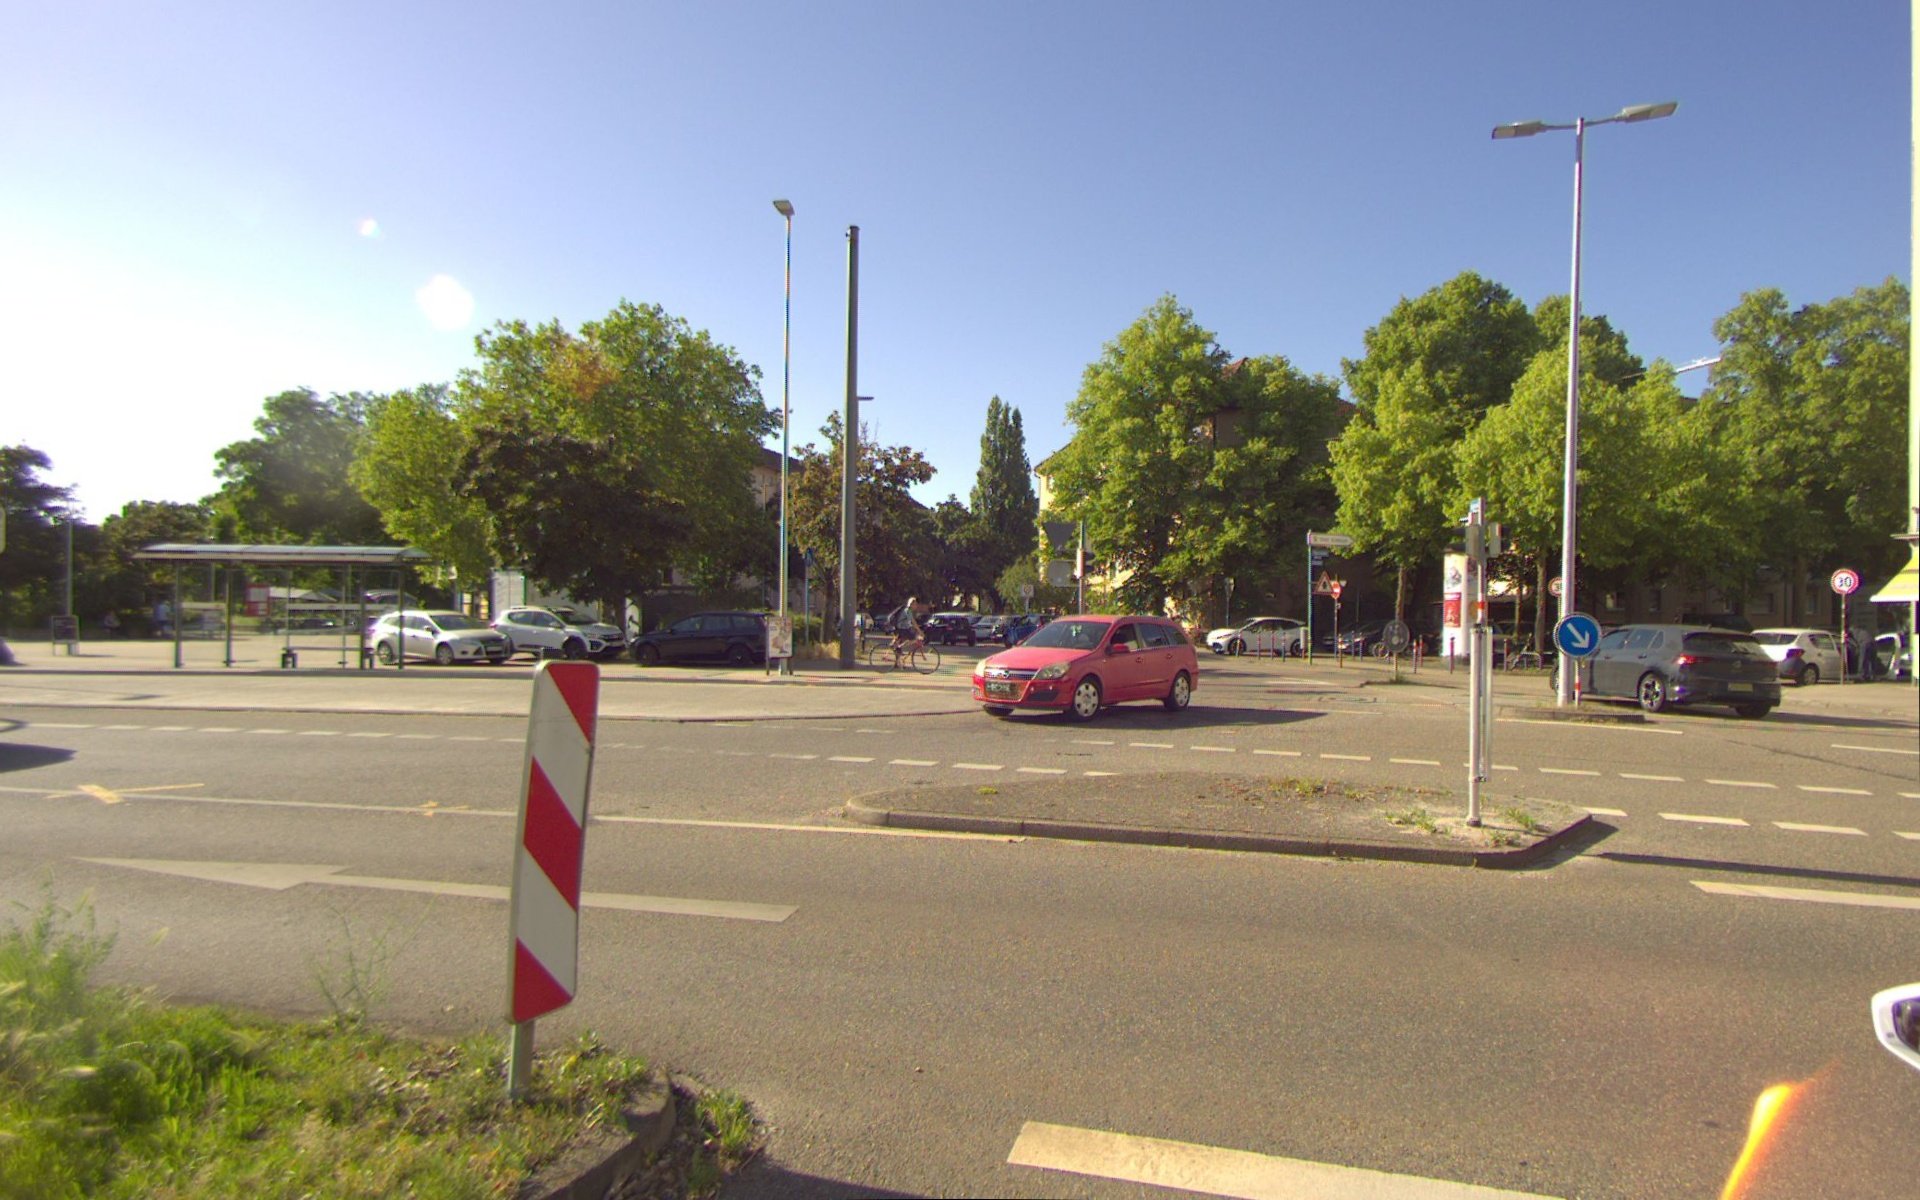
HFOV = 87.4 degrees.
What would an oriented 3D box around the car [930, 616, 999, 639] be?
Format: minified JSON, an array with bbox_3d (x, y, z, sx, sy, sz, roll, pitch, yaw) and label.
[{"bbox_3d":[0.303,1.701,62.917,3.926,1.356,1.804,0,-1,27],"label":"car"}]

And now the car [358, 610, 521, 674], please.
[{"bbox_3d":[-14.662,1.129,28.245,4.466,1.565,1.869,0,2,28],"label":"car"}]

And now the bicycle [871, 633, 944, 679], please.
[{"bbox_3d":[-1.238,1.308,23.628,1.631,1.014,0.612,-1,1,-16],"label":"bicycle"}]

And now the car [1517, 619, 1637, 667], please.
[{"bbox_3d":[21.640,1.480,35.349,1.646,1.623,3.291,1,-1,-21],"label":"car"}]

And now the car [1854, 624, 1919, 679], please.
[{"bbox_3d":[28.820,1.501,29.562,3.872,1.533,1.937,1,-1,-14],"label":"car"}]

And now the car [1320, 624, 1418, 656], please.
[{"bbox_3d":[17.247,1.665,42.426,3.641,1.310,1.594,0,-1,-15],"label":"car"}]

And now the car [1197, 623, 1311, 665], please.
[{"bbox_3d":[12.004,1.768,41.032,4.153,1.639,1.761,0,0,-13],"label":"car"}]

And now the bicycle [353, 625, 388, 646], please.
[{"bbox_3d":[-24.894,1.475,42.420,1.656,0.850,0.546,0,-1,32],"label":"bicycle"}]

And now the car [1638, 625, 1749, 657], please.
[{"bbox_3d":[29.504,1.634,40.518,3.379,1.206,1.666,0,-1,27],"label":"car"}]

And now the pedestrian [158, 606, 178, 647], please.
[{"bbox_3d":[-36.238,1.227,45.953,0.553,1.853,0.722,1,-1,-29],"label":"pedestrian"}]

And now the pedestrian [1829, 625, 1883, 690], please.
[{"bbox_3d":[23.307,1.474,26.127,0.818,1.643,0.789,1,-1,-24],"label":"pedestrian"}]

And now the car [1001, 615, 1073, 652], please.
[{"bbox_3d":[3.175,1.358,41.881,1.628,1.457,3.377,1,-1,-23],"label":"car"}]

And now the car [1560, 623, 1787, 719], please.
[{"bbox_3d":[12.053,1.128,17.275,1.593,1.448,3.690,0,-1,6],"label":"car"}]

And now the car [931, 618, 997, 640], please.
[{"bbox_3d":[0.269,1.890,65.587,3.926,1.356,1.804,0,-1,27],"label":"car"}]

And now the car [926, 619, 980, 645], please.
[{"bbox_3d":[-0.391,1.597,51.089,1.670,1.270,3.610,1,-1,-19],"label":"car"}]

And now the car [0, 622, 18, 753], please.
[{"bbox_3d":[-12.345,0.914,10.081,4.069,1.410,1.665,1,-1,-3],"label":"car"}]

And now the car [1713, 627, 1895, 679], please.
[{"bbox_3d":[23.170,1.437,27.617,3.934,1.327,1.994,1,-1,-16],"label":"car"}]

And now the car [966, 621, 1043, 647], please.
[{"bbox_3d":[2.498,1.907,56.533,3.926,1.356,1.804,0,-1,27],"label":"car"}]

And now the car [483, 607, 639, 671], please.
[{"bbox_3d":[-11.793,1.133,29.773,3.919,1.741,1.764,0,2,12],"label":"car"}]

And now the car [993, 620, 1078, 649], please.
[{"bbox_3d":[3.874,1.775,51.823,3.942,1.460,1.909,1,-1,-22],"label":"car"}]

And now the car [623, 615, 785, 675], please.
[{"bbox_3d":[-6.985,1.211,27.652,3.927,1.509,1.764,0,2,7],"label":"car"}]

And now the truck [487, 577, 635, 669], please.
[{"bbox_3d":[-14.016,0.779,35.598,1.963,3.035,4.823,0,0,27],"label":"truck"}]

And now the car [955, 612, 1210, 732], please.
[{"bbox_3d":[1.993,0.960,15.071,1.728,1.508,4.525,0,-1,38],"label":"car"}]

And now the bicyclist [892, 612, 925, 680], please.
[{"bbox_3d":[-1.219,1.069,23.636,0.665,1.551,0.612,-1,1,-16],"label":"bicyclist"}]
